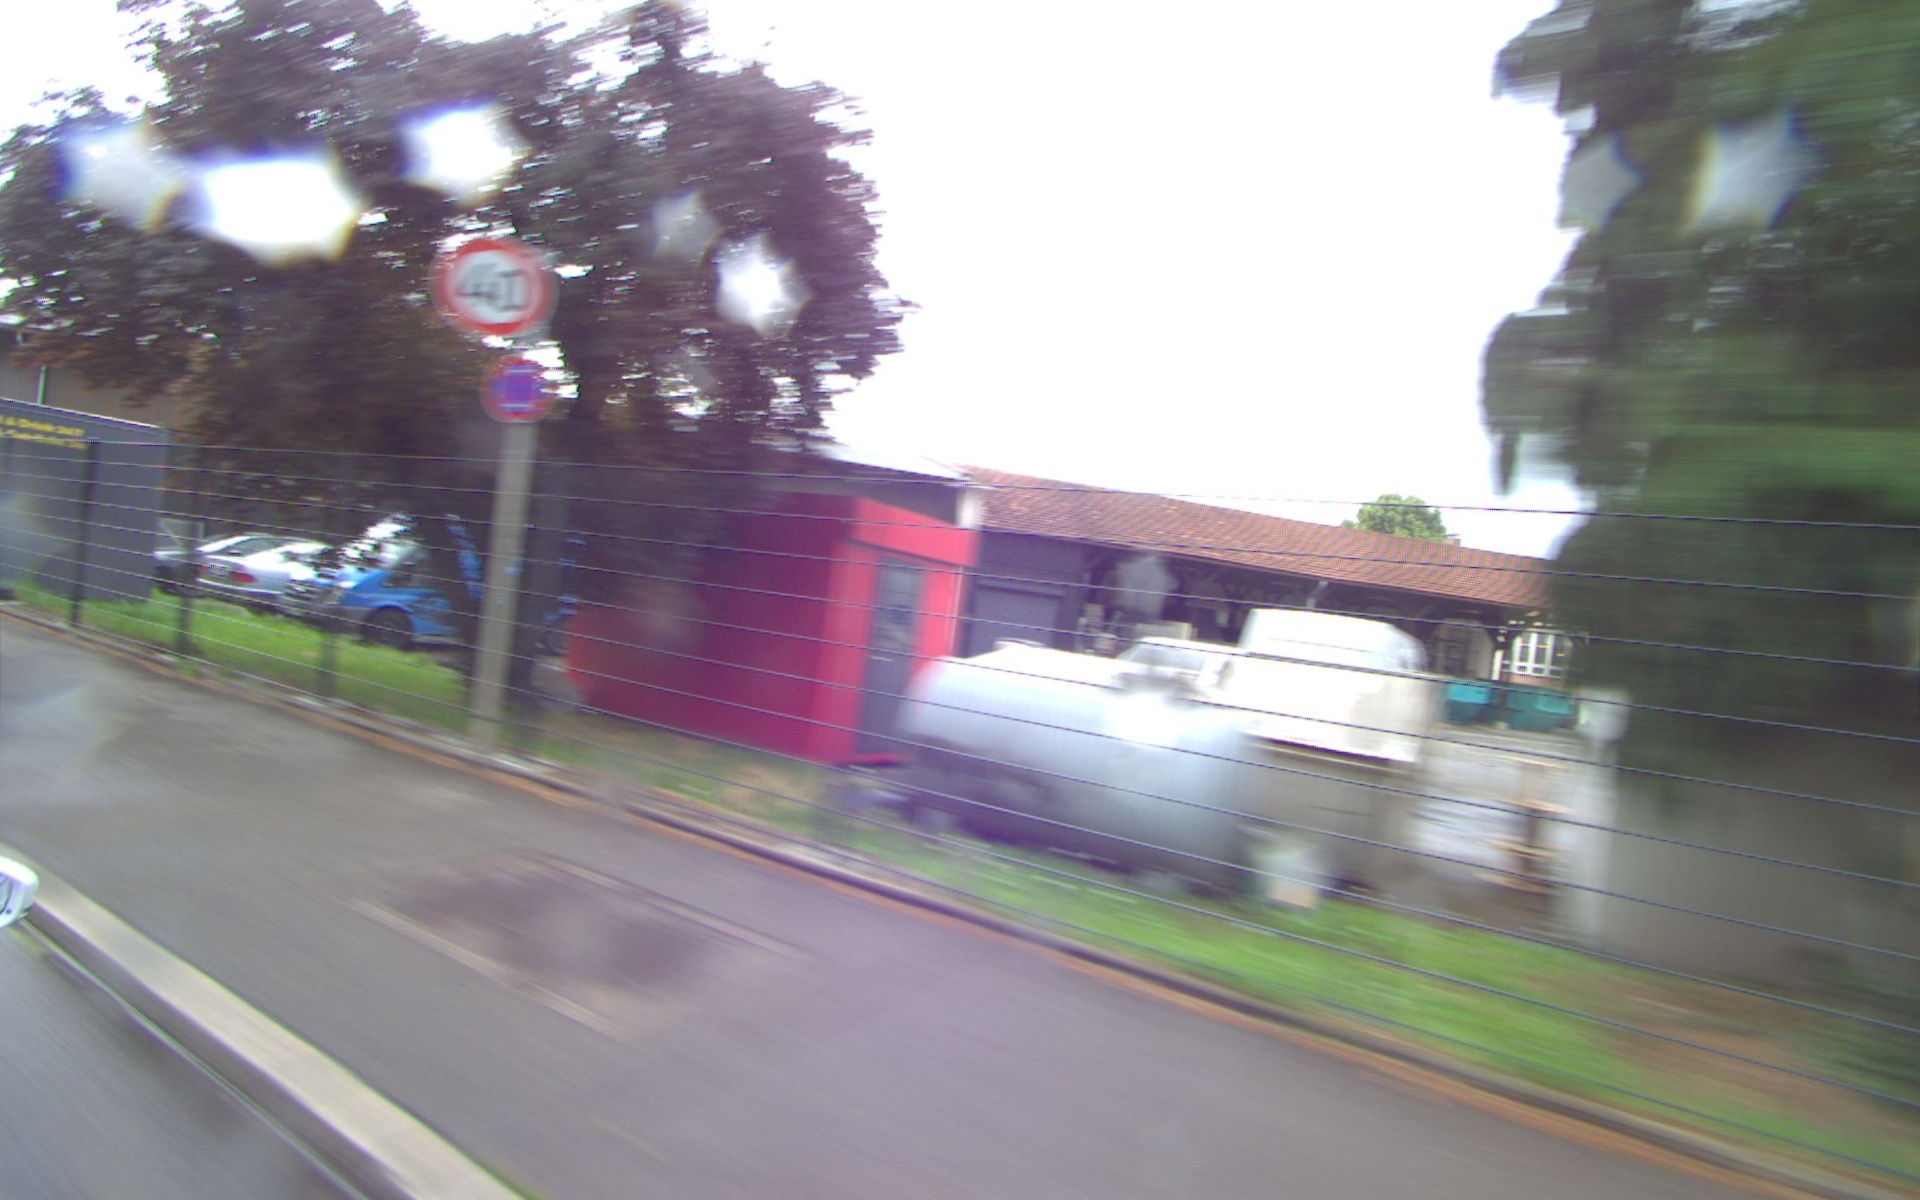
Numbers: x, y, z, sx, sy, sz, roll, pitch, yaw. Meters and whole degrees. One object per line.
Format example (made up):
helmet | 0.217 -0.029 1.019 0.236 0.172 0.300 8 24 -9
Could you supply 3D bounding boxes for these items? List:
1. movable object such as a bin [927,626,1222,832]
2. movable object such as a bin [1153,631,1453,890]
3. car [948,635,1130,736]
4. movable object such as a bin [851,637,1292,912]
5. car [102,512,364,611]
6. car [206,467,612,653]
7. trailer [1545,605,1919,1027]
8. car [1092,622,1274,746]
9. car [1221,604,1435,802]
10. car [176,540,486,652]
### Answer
movable object such as a bin | 1.373 1.311 10.748 1.859 1.595 3.339 7 -2 29
movable object such as a bin | 3.287 1.375 9.350 2.048 1.736 2.624 7 -2 29
car | 1.632 1.595 18.962 1.768 1.440 4.367 7 -1 27
movable object such as a bin | 0.823 1.165 7.456 2.809 1.335 1.374 7 -2 27
car | -15.117 -0.757 21.142 1.756 1.439 3.994 5 -3 32
car | -8.867 -0.497 16.889 1.966 2.236 5.580 7 -2 30
trailer | 6.135 1.492 8.351 2.012 2.211 5.433 6 -3 31
car | 4.115 1.447 17.914 1.965 1.714 4.607 6 -1 27
car | 5.647 1.450 14.995 1.967 2.298 4.828 6 -1 31
car | -11.263 0.013 18.373 1.764 1.549 4.387 6 -1 30
